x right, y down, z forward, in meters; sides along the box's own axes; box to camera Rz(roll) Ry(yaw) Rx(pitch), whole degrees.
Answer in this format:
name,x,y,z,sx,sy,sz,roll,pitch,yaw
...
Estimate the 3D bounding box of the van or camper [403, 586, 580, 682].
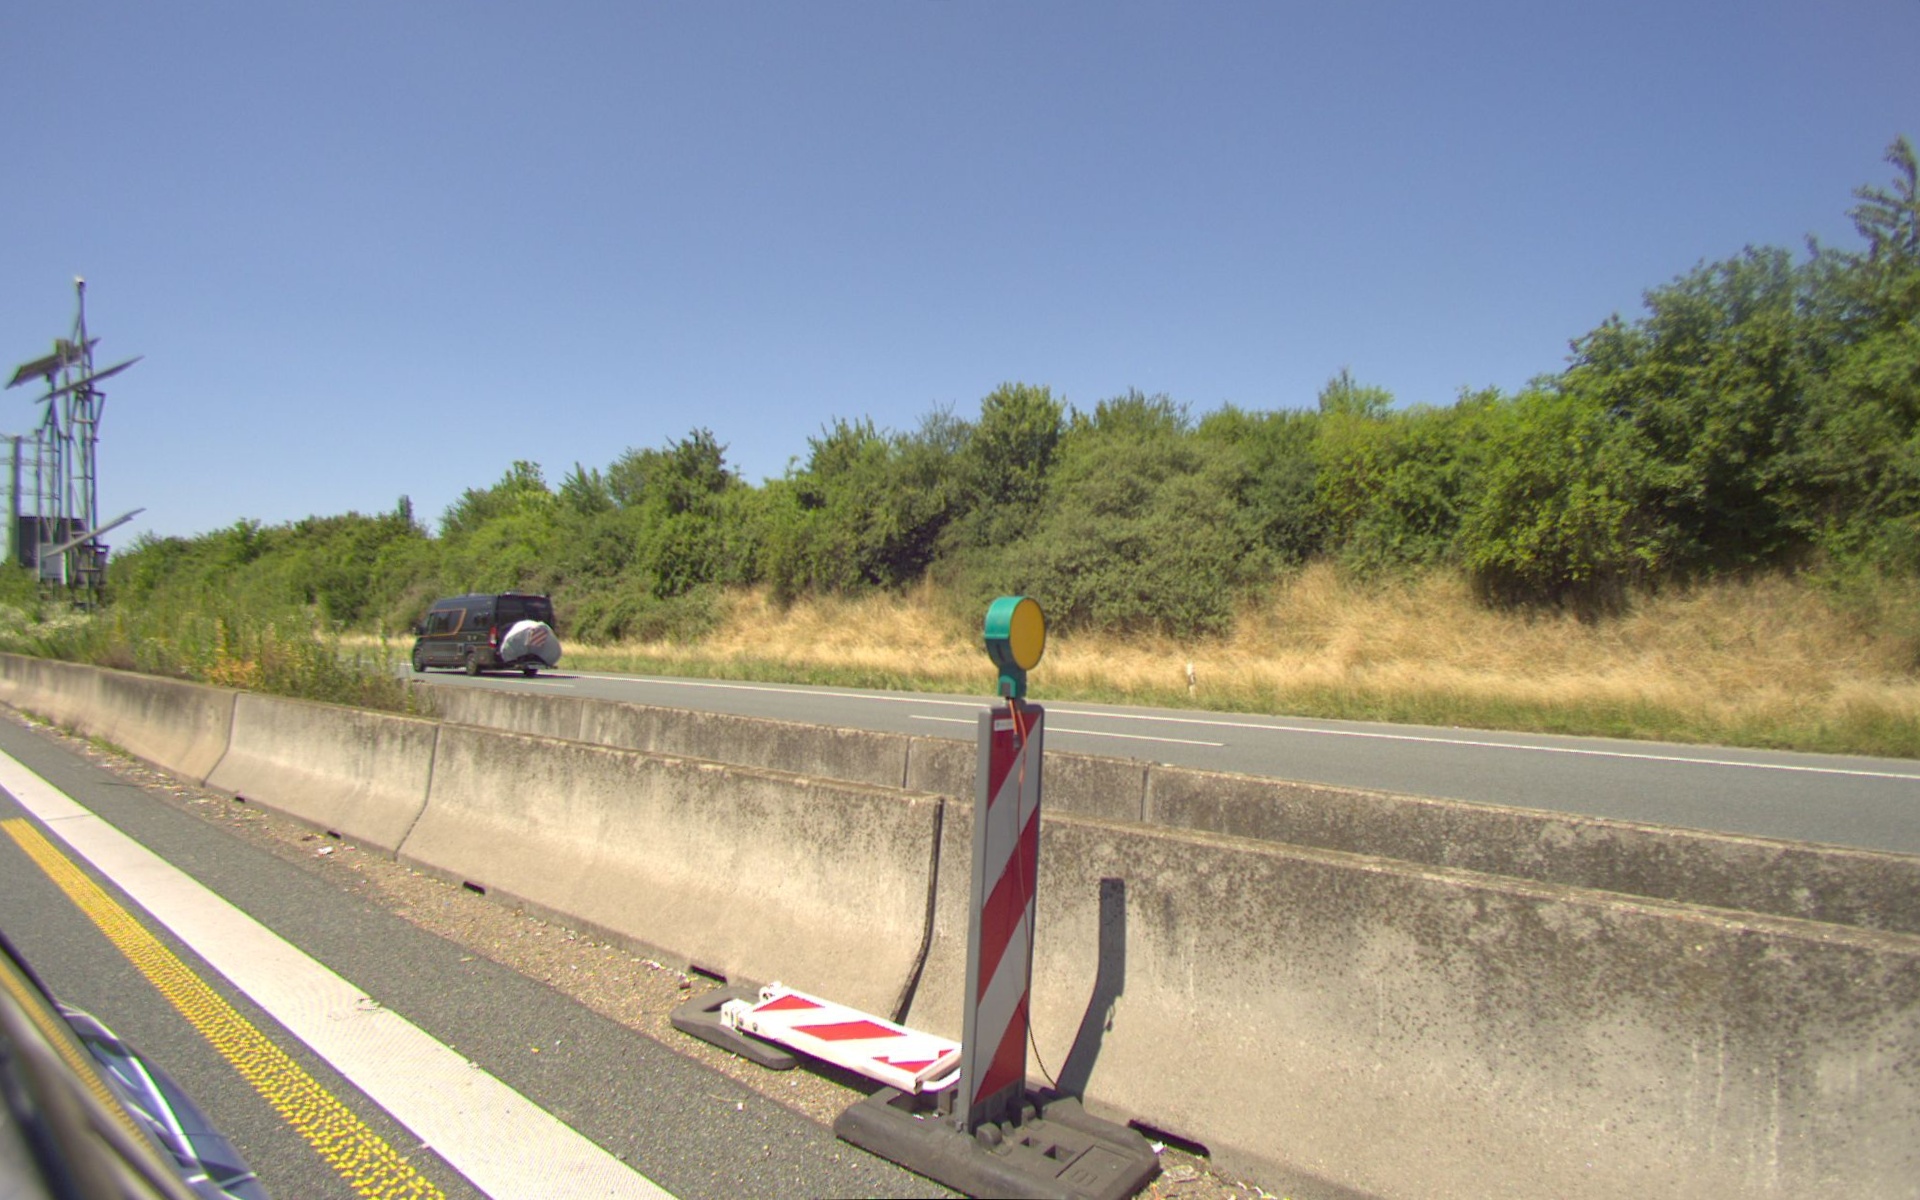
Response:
name,x,y,z,sx,sy,sz,roll,pitch,yaw
van or camper,-14.928,1.059,31.993,7.075,2.731,2.200,-1,-4,40
